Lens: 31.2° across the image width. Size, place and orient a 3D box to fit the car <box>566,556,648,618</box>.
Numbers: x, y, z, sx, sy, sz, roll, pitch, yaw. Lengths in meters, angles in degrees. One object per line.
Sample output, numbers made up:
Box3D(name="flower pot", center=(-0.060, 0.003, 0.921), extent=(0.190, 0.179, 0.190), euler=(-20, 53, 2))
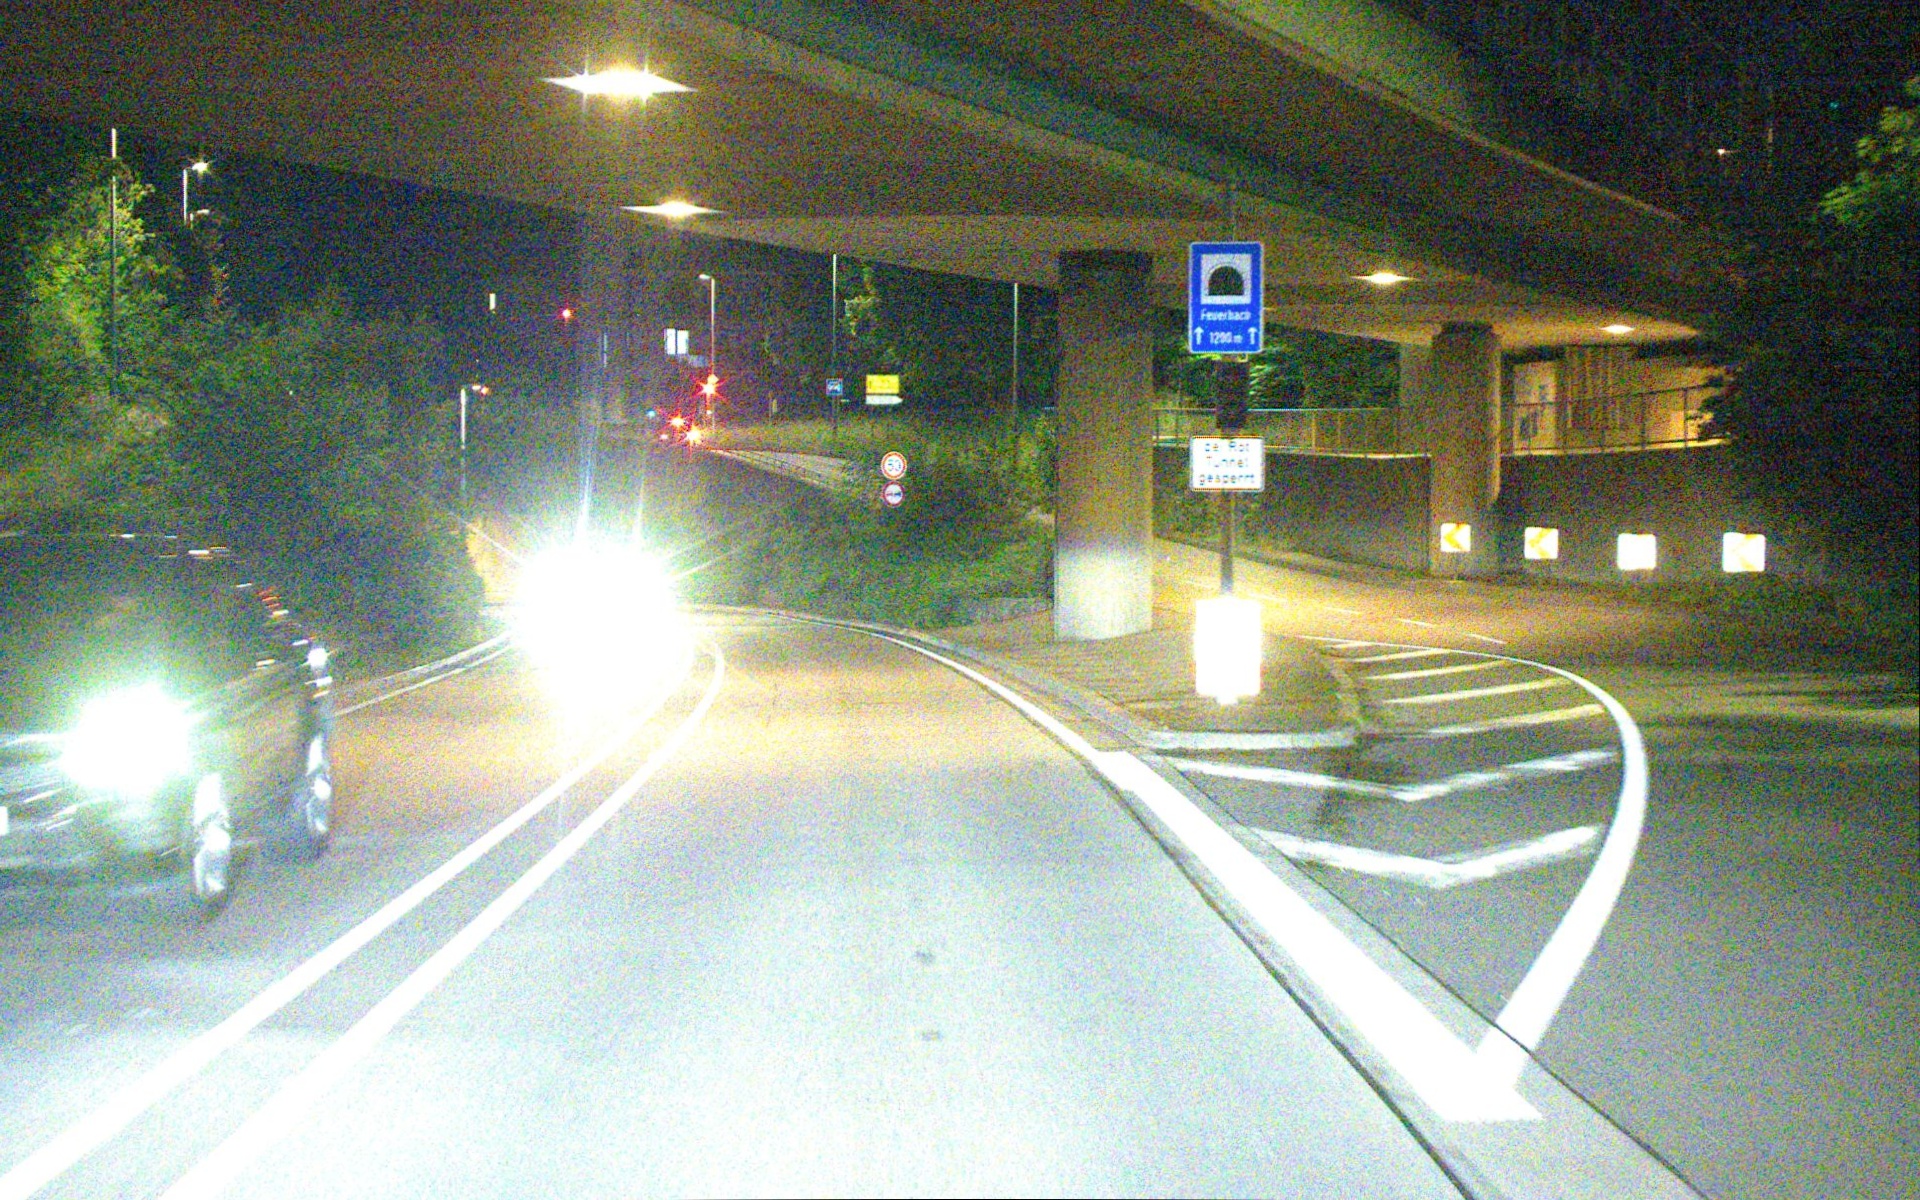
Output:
Box3D(name="car", center=(-8.432, -0.295, 82.351), extent=(1.787, 1.442, 4.172), euler=(0, 0, -3))

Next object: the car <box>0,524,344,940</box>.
Box3D(name="car", center=(-3.952, 0.505, 14.967), extent=(1.881, 1.549, 4.218), euler=(-1, 0, -2))
